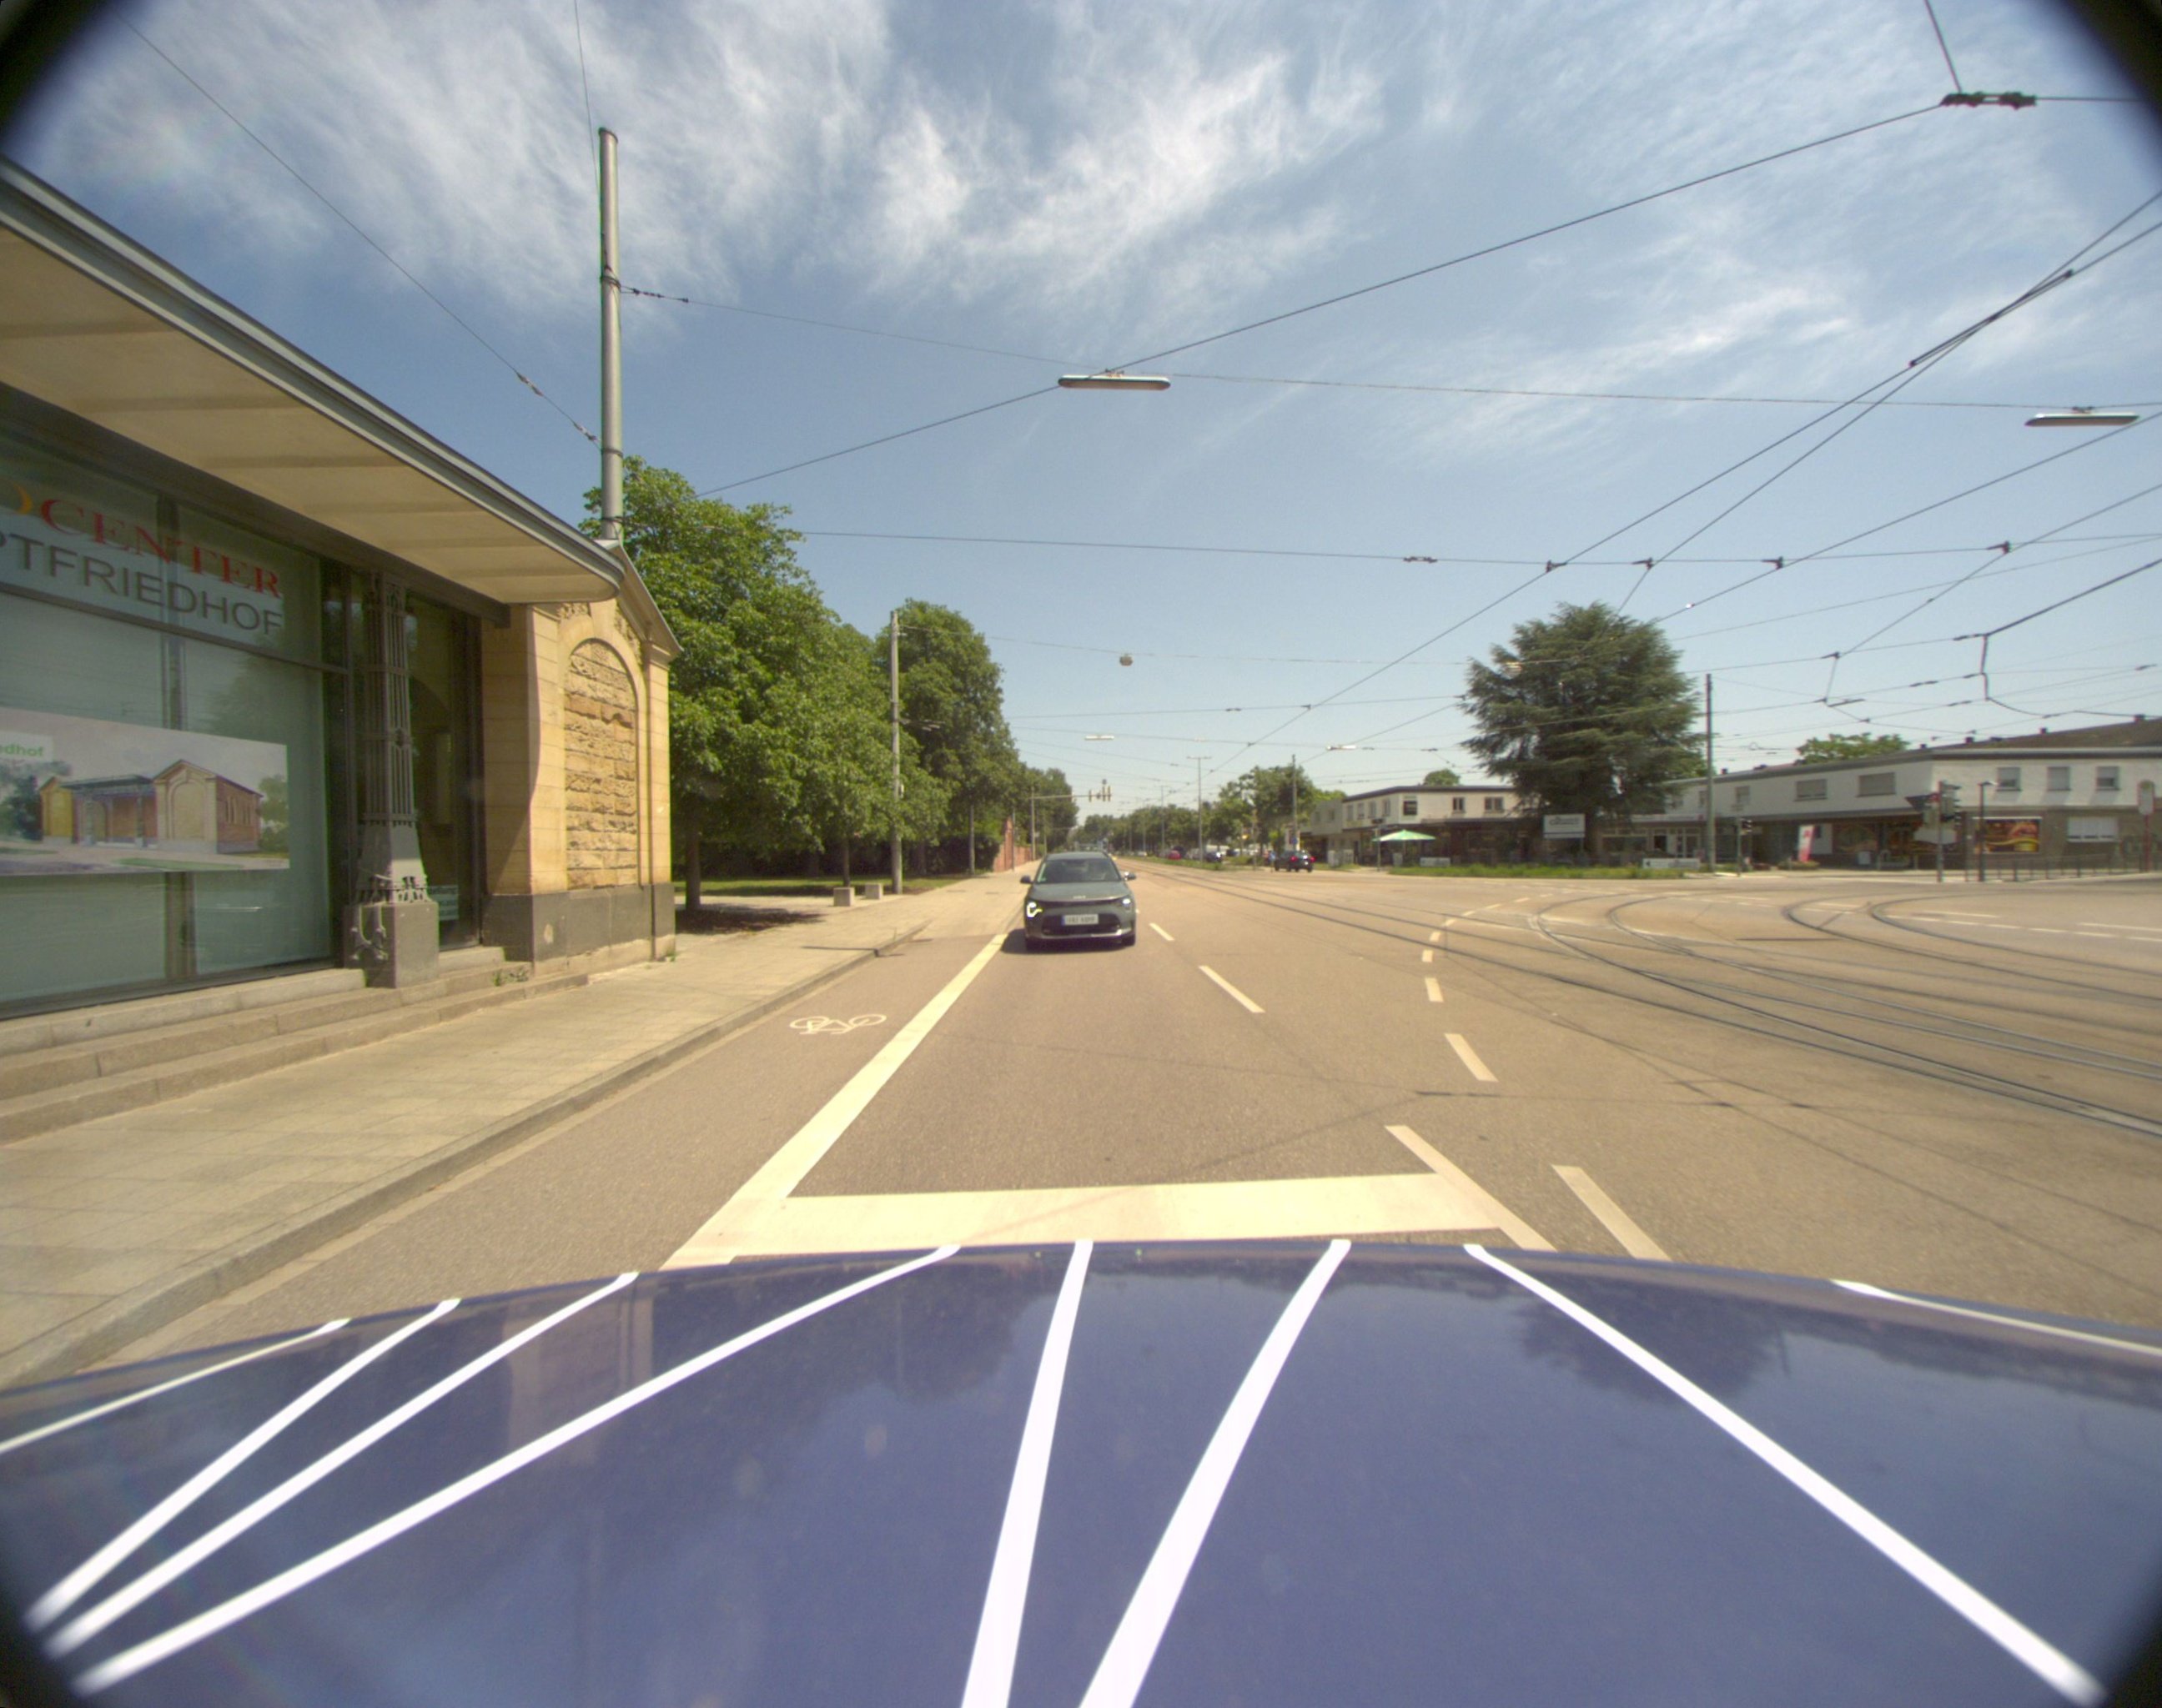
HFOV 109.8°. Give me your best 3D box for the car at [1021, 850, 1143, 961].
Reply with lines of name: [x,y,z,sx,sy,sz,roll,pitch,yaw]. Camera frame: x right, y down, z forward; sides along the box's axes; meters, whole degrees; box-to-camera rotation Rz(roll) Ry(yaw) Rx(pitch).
car: [0.011,0.782,13.679,1.789,1.561,4.183,-3,1,0]

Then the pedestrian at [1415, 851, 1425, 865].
pedestrian: [28.098,0.352,62.894,0.518,1.121,0.674,0,1,0]

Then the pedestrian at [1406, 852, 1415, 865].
pedestrian: [28.009,0.362,64.557,0.518,1.121,0.674,0,1,0]

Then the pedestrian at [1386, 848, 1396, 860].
pedestrian: [28.518,0.015,69.875,0.566,1.121,0.810,0,1,0]

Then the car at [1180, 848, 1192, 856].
car: [17.564,-0.341,127.112,1.675,1.379,3.568,0,1,1]

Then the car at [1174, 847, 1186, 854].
car: [17.864,-0.632,136.872,1.675,1.379,3.669,0,1,1]

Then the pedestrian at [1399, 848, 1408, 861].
pedestrian: [29.096,0.016,68.618,0.518,1.202,0.674,0,1,0]

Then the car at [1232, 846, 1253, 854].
car: [29.396,-0.720,138.540,3.415,1.497,1.602,0,1,-6]

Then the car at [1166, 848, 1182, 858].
car: [14.199,-0.224,116.509,1.629,1.475,3.827,0,1,-5]

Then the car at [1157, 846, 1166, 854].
car: [18.337,-0.932,173.497,1.682,1.693,3.822,0,1,-1]

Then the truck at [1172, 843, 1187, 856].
truck: [18.493,-0.884,143.009,2.225,2.527,4.928,0,1,0]

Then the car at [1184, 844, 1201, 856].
car: [17.561,-0.627,120.332,1.999,1.872,4.661,0,1,0]

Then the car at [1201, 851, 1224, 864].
car: [14.697,0.369,84.861,1.714,1.430,3.864,0,1,-3]

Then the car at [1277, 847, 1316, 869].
car: [16.087,0.275,56.937,1.798,1.570,4.494,0,0,1]

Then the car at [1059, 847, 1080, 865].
car: [-1.109,0.136,72.808,1.999,1.652,3.999,0,1,-1]

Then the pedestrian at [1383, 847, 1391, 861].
pedestrian: [27.846,0.006,69.177,0.576,1.231,0.491,0,1,-1]

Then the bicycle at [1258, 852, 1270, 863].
bicycle: [18.699,0.352,77.570,0.696,1.142,1.931,0,0,-1]

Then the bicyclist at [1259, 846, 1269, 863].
bicyclist: [18.695,0.060,77.545,0.696,1.755,1.137,0,0,-1]

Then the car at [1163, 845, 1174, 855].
car: [18.039,-0.864,157.003,1.682,1.963,4.508,0,1,-1]

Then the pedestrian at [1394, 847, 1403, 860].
pedestrian: [29.269,-0.039,69.965,0.518,1.157,0.674,0,1,0]

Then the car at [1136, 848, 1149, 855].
car: [13.412,-0.569,165.939,1.999,1.544,4.137,2,1,-5]

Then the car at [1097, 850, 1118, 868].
car: [2.271,0.375,65.839,1.620,1.413,3.654,2,1,-1]

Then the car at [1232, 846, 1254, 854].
car: [28.374,-0.787,132.977,3.415,1.386,1.602,0,1,-6]
